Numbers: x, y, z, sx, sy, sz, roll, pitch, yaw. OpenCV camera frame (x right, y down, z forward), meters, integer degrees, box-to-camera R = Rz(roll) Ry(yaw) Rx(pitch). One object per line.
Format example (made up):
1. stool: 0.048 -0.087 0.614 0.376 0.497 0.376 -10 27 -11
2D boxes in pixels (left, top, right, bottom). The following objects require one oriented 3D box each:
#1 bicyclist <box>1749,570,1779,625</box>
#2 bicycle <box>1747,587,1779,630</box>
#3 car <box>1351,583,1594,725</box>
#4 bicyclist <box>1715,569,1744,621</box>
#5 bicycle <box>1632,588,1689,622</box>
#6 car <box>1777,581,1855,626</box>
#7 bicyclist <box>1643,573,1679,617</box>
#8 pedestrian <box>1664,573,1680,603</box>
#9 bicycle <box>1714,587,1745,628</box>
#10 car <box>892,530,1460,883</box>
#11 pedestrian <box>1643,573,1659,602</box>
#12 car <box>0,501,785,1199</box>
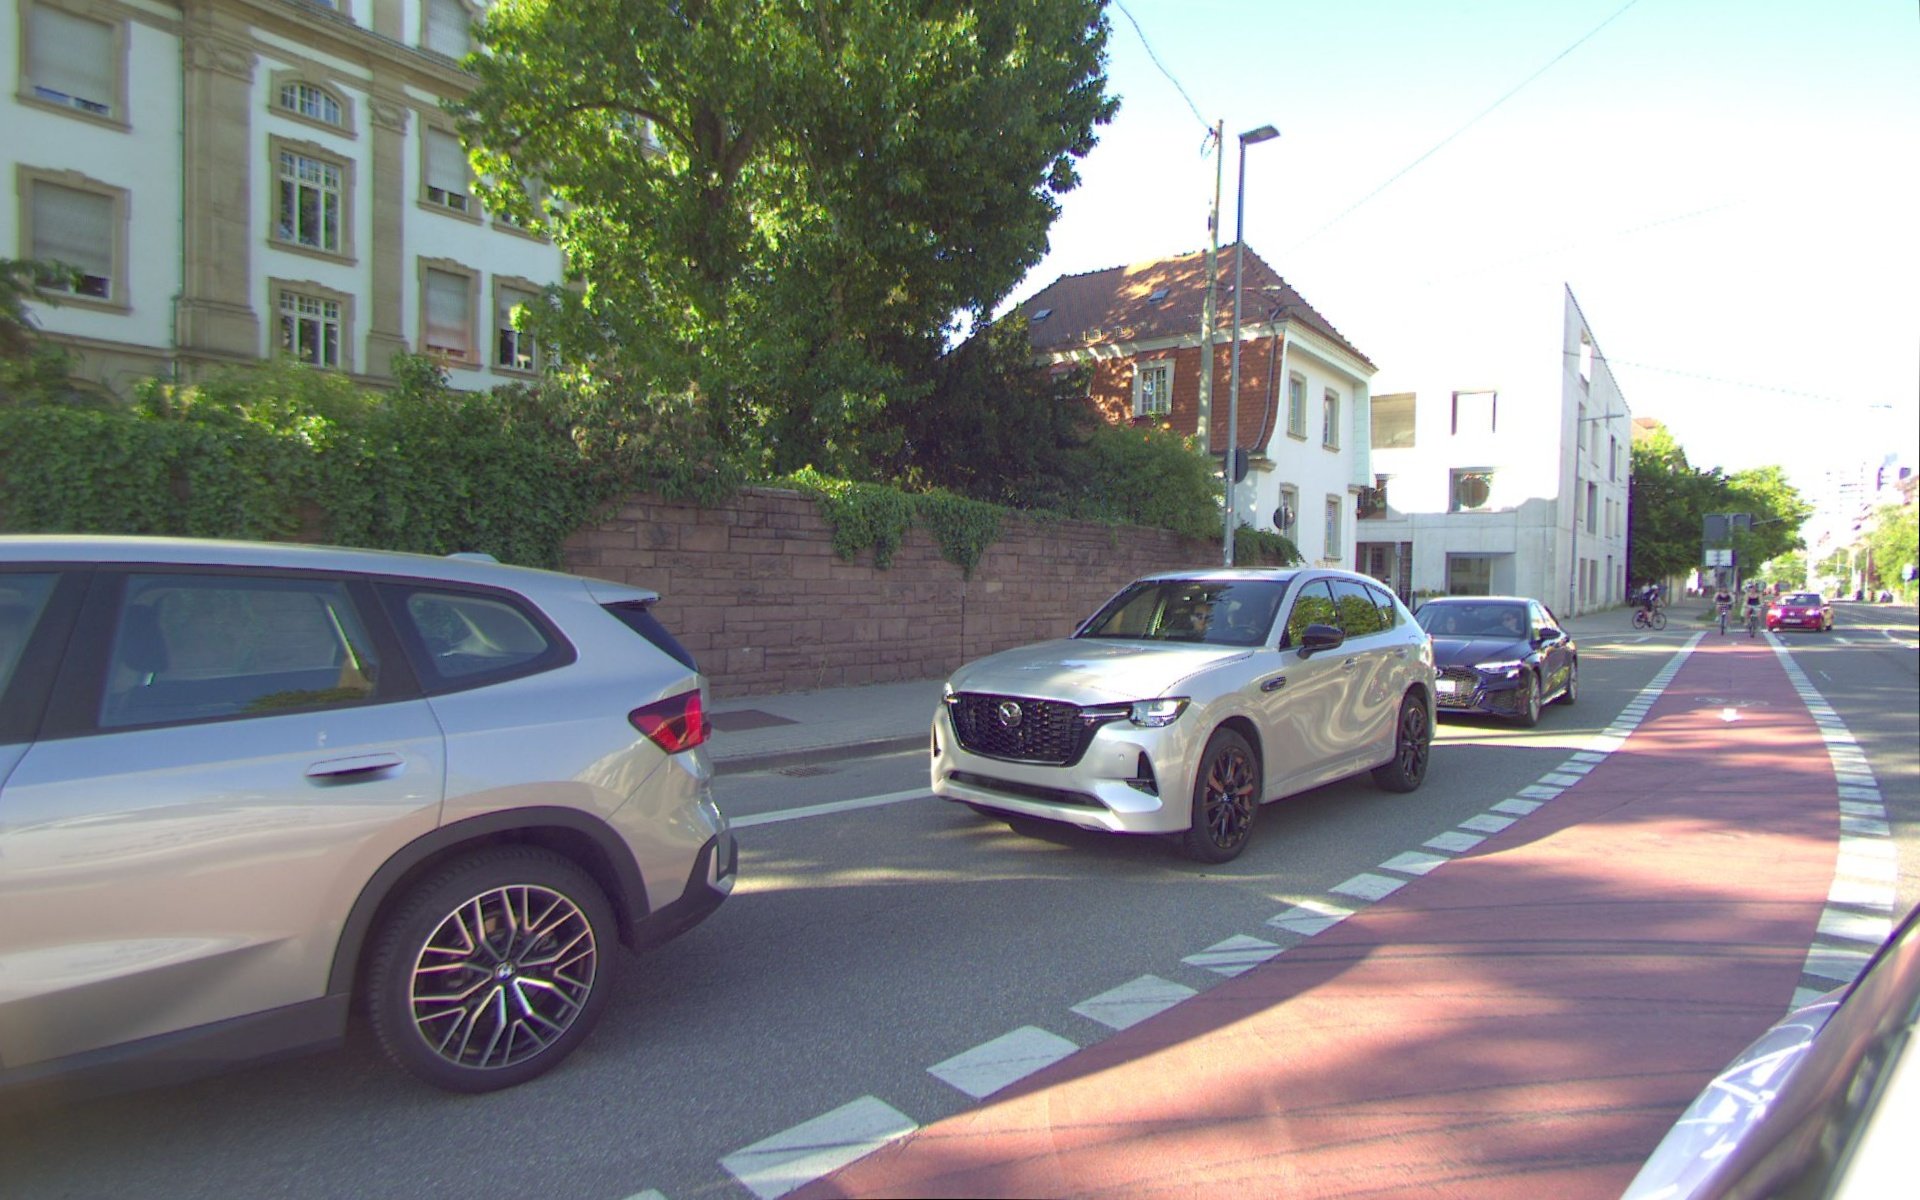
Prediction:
1. bicyclist: 25.096 -0.084 31.592 0.673 1.667 1.014 2 2 40
2. bicycle: 25.089 0.249 31.604 0.673 1.265 2.421 2 2 40
3. car: 6.410 0.526 12.434 1.782 1.451 3.941 0 1 41
4. bicyclist: 25.535 -0.168 33.566 0.673 1.667 1.014 2 2 40
5. bicycle: 27.297 0.195 39.437 2.406 1.266 0.678 0 2 -25
6. car: 31.874 0.097 37.672 3.585 1.580 1.648 -1 0 -40
7. bicyclist: 27.304 -0.202 39.425 1.008 1.667 0.677 0 2 -25
8. pedestrian: 41.013 -0.695 58.324 0.673 1.668 0.806 1 1 40
9. bicycle: 25.586 0.230 33.641 0.673 1.265 2.421 2 2 40
10. car: 1.808 0.491 7.224 1.940 1.713 4.460 0 1 44
11. pedestrian: 40.141 -0.726 58.793 0.673 1.668 0.806 1 1 40
12. car: -2.833 0.577 2.953 4.248 1.614 1.792 0 0 -36
